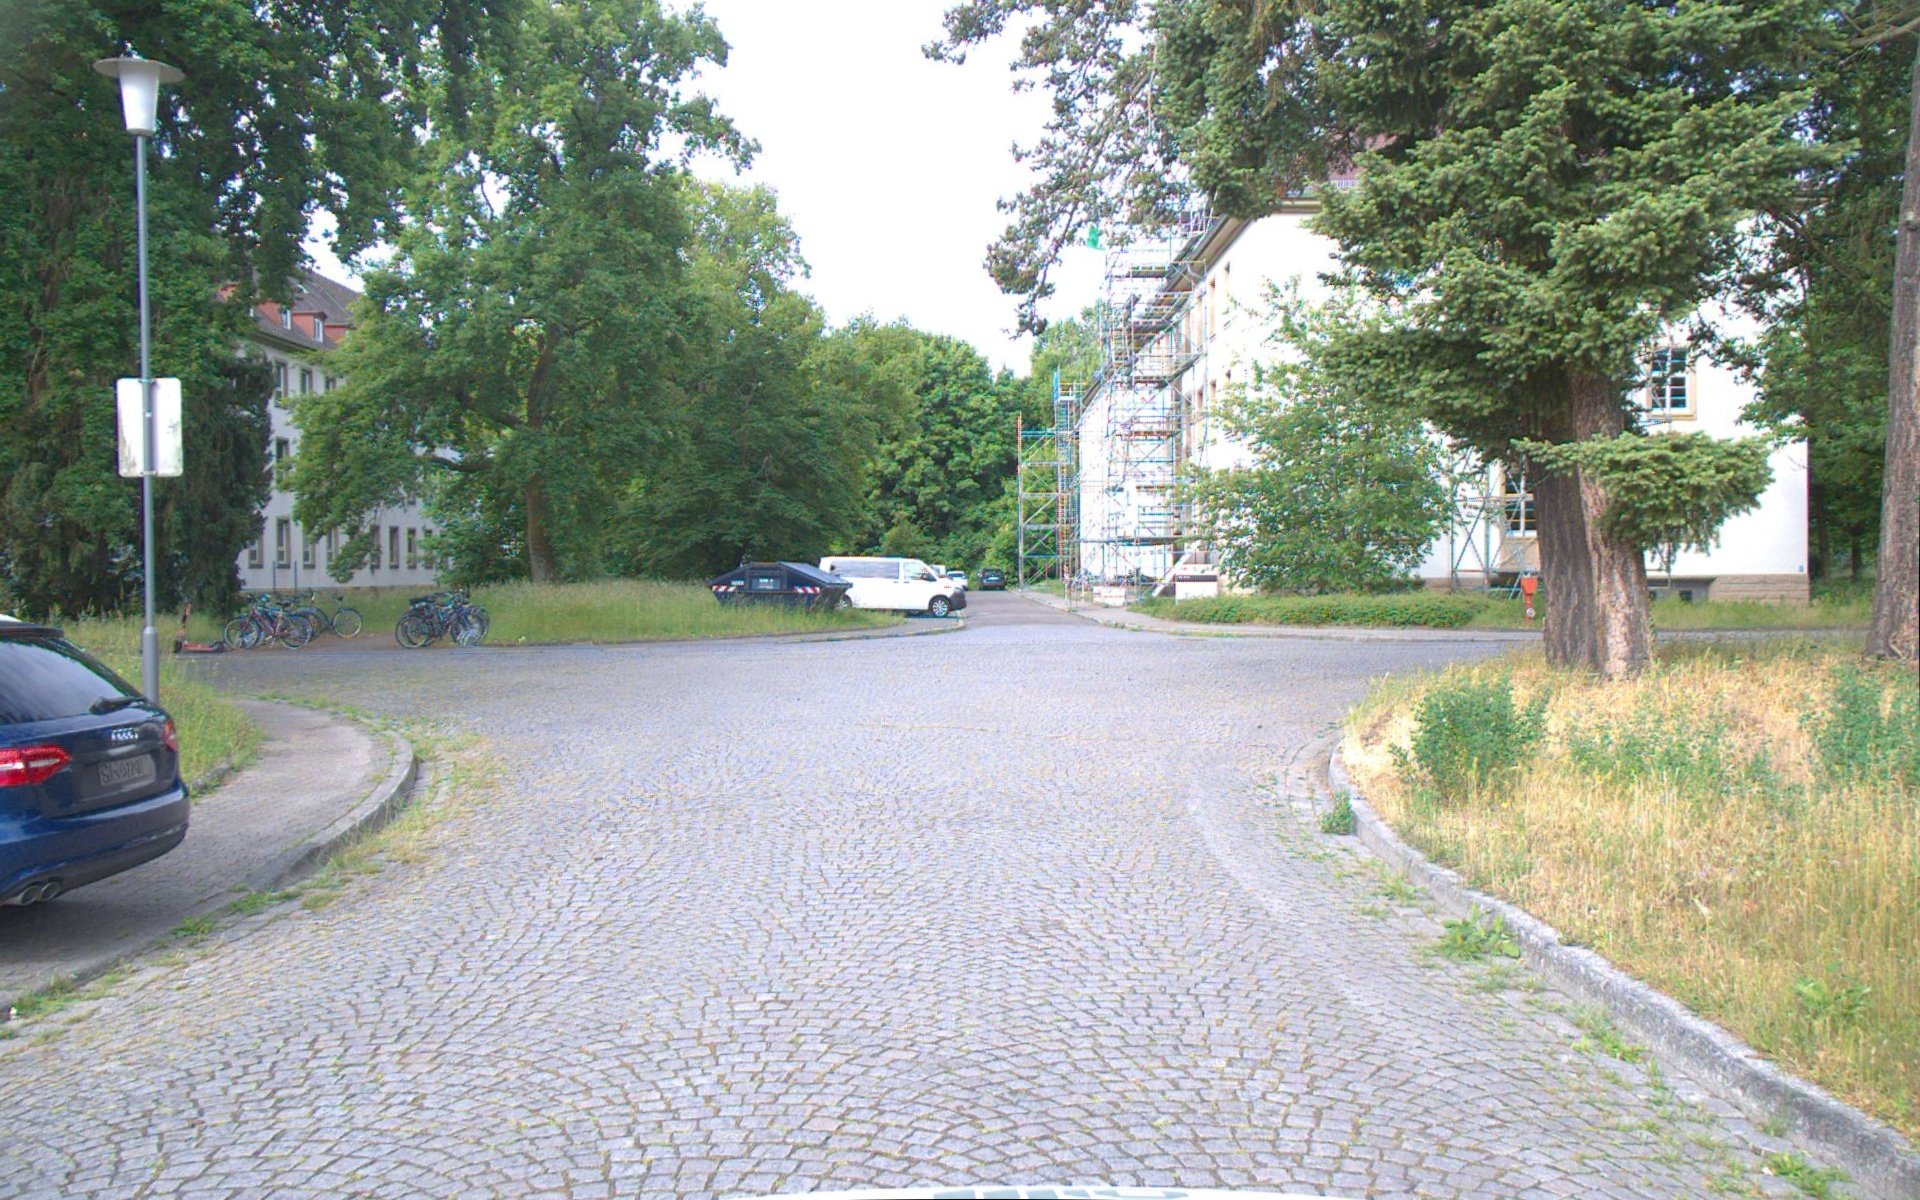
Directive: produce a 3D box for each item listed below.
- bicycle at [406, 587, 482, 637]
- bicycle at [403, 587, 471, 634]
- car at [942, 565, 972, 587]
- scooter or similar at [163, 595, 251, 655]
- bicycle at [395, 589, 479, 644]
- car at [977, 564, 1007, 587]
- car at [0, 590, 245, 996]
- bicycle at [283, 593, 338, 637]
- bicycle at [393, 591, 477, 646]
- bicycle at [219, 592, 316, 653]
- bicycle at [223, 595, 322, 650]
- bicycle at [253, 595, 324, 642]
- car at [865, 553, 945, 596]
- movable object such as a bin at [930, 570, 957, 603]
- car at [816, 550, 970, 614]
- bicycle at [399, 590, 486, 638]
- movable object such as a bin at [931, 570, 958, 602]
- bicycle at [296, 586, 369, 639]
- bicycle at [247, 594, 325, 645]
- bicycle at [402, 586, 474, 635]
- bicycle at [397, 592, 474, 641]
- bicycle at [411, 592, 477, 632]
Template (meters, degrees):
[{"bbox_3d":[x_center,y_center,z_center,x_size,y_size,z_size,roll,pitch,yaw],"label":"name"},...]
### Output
[{"bbox_3d":[-12.809,0.286,41.033,1.745,1.124,0.539,-3,4,-20],"label":"bicycle"},{"bbox_3d":[-13.291,0.262,42.018,1.592,1.077,0.524,-3,4,-20],"label":"bicycle"},{"bbox_3d":[-0.255,-1.758,122.309,1.961,1.575,3.956,2,0,-3],"label":"car"},{"bbox_3d":[-15.974,0.531,35.126,1.515,1.215,0.682,-1,2,3],"label":"scooter or similar"},{"bbox_3d":[-11.955,0.367,37.797,1.767,1.122,0.699,-3,4,-20],"label":"bicycle"},{"bbox_3d":[2.393,-1.795,122.619,2.020,1.621,4.001,2,0,2],"label":"car"},{"bbox_3d":[-5.623,0.729,7.114,4.340,1.505,1.682,0,1,0],"label":"car"},{"bbox_3d":[-16.464,0.390,41.932,1.240,1.047,0.431,-2,-1,-20],"label":"bicycle"},{"bbox_3d":[-11.775,0.401,37.097,1.741,1.122,0.699,-3,4,-20],"label":"bicycle"},{"bbox_3d":[-14.961,0.470,35.775,1.867,1.244,0.640,-1,3,-20],"label":"bicycle"},{"bbox_3d":[-15.122,0.484,36.436,1.955,1.133,0.640,-1,3,-20],"label":"bicycle"},{"bbox_3d":[-15.998,0.430,39.401,1.496,1.053,0.540,-2,3,-31],"label":"bicycle"},{"bbox_3d":[-2.823,-1.284,83.659,3.909,2.049,1.920,2,0,-5],"label":"car"},{"bbox_3d":[-0.728,-0.617,74.789,1.159,1.431,0.975,2,0,0],"label":"movable object such as a bin"},{"bbox_3d":[-2.245,-0.601,56.194,5.095,2.096,2.188,1,0,-1],"label":"car"},{"bbox_3d":[-12.307,0.320,39.310,1.925,1.022,0.683,-3,4,-20],"label":"bicycle"},{"bbox_3d":[-0.718,-0.627,75.928,1.159,1.431,0.975,2,0,0],"label":"movable object such as a bin"},{"bbox_3d":[-15.370,0.296,40.509,1.619,1.206,0.569,-1,3,-26],"label":"bicycle"},{"bbox_3d":[-15.491,0.446,38.032,1.608,1.092,0.534,-2,3,-31],"label":"bicycle"},{"bbox_3d":[-13.095,0.258,41.515,1.671,1.135,0.539,-3,3,-20],"label":"bicycle"},{"bbox_3d":[-12.201,0.373,38.478,1.666,1.018,0.629,-3,4,-20],"label":"bicycle"},{"bbox_3d":[-13.284,0.298,42.590,1.592,0.926,0.524,-3,4,-20],"label":"bicycle"}]
